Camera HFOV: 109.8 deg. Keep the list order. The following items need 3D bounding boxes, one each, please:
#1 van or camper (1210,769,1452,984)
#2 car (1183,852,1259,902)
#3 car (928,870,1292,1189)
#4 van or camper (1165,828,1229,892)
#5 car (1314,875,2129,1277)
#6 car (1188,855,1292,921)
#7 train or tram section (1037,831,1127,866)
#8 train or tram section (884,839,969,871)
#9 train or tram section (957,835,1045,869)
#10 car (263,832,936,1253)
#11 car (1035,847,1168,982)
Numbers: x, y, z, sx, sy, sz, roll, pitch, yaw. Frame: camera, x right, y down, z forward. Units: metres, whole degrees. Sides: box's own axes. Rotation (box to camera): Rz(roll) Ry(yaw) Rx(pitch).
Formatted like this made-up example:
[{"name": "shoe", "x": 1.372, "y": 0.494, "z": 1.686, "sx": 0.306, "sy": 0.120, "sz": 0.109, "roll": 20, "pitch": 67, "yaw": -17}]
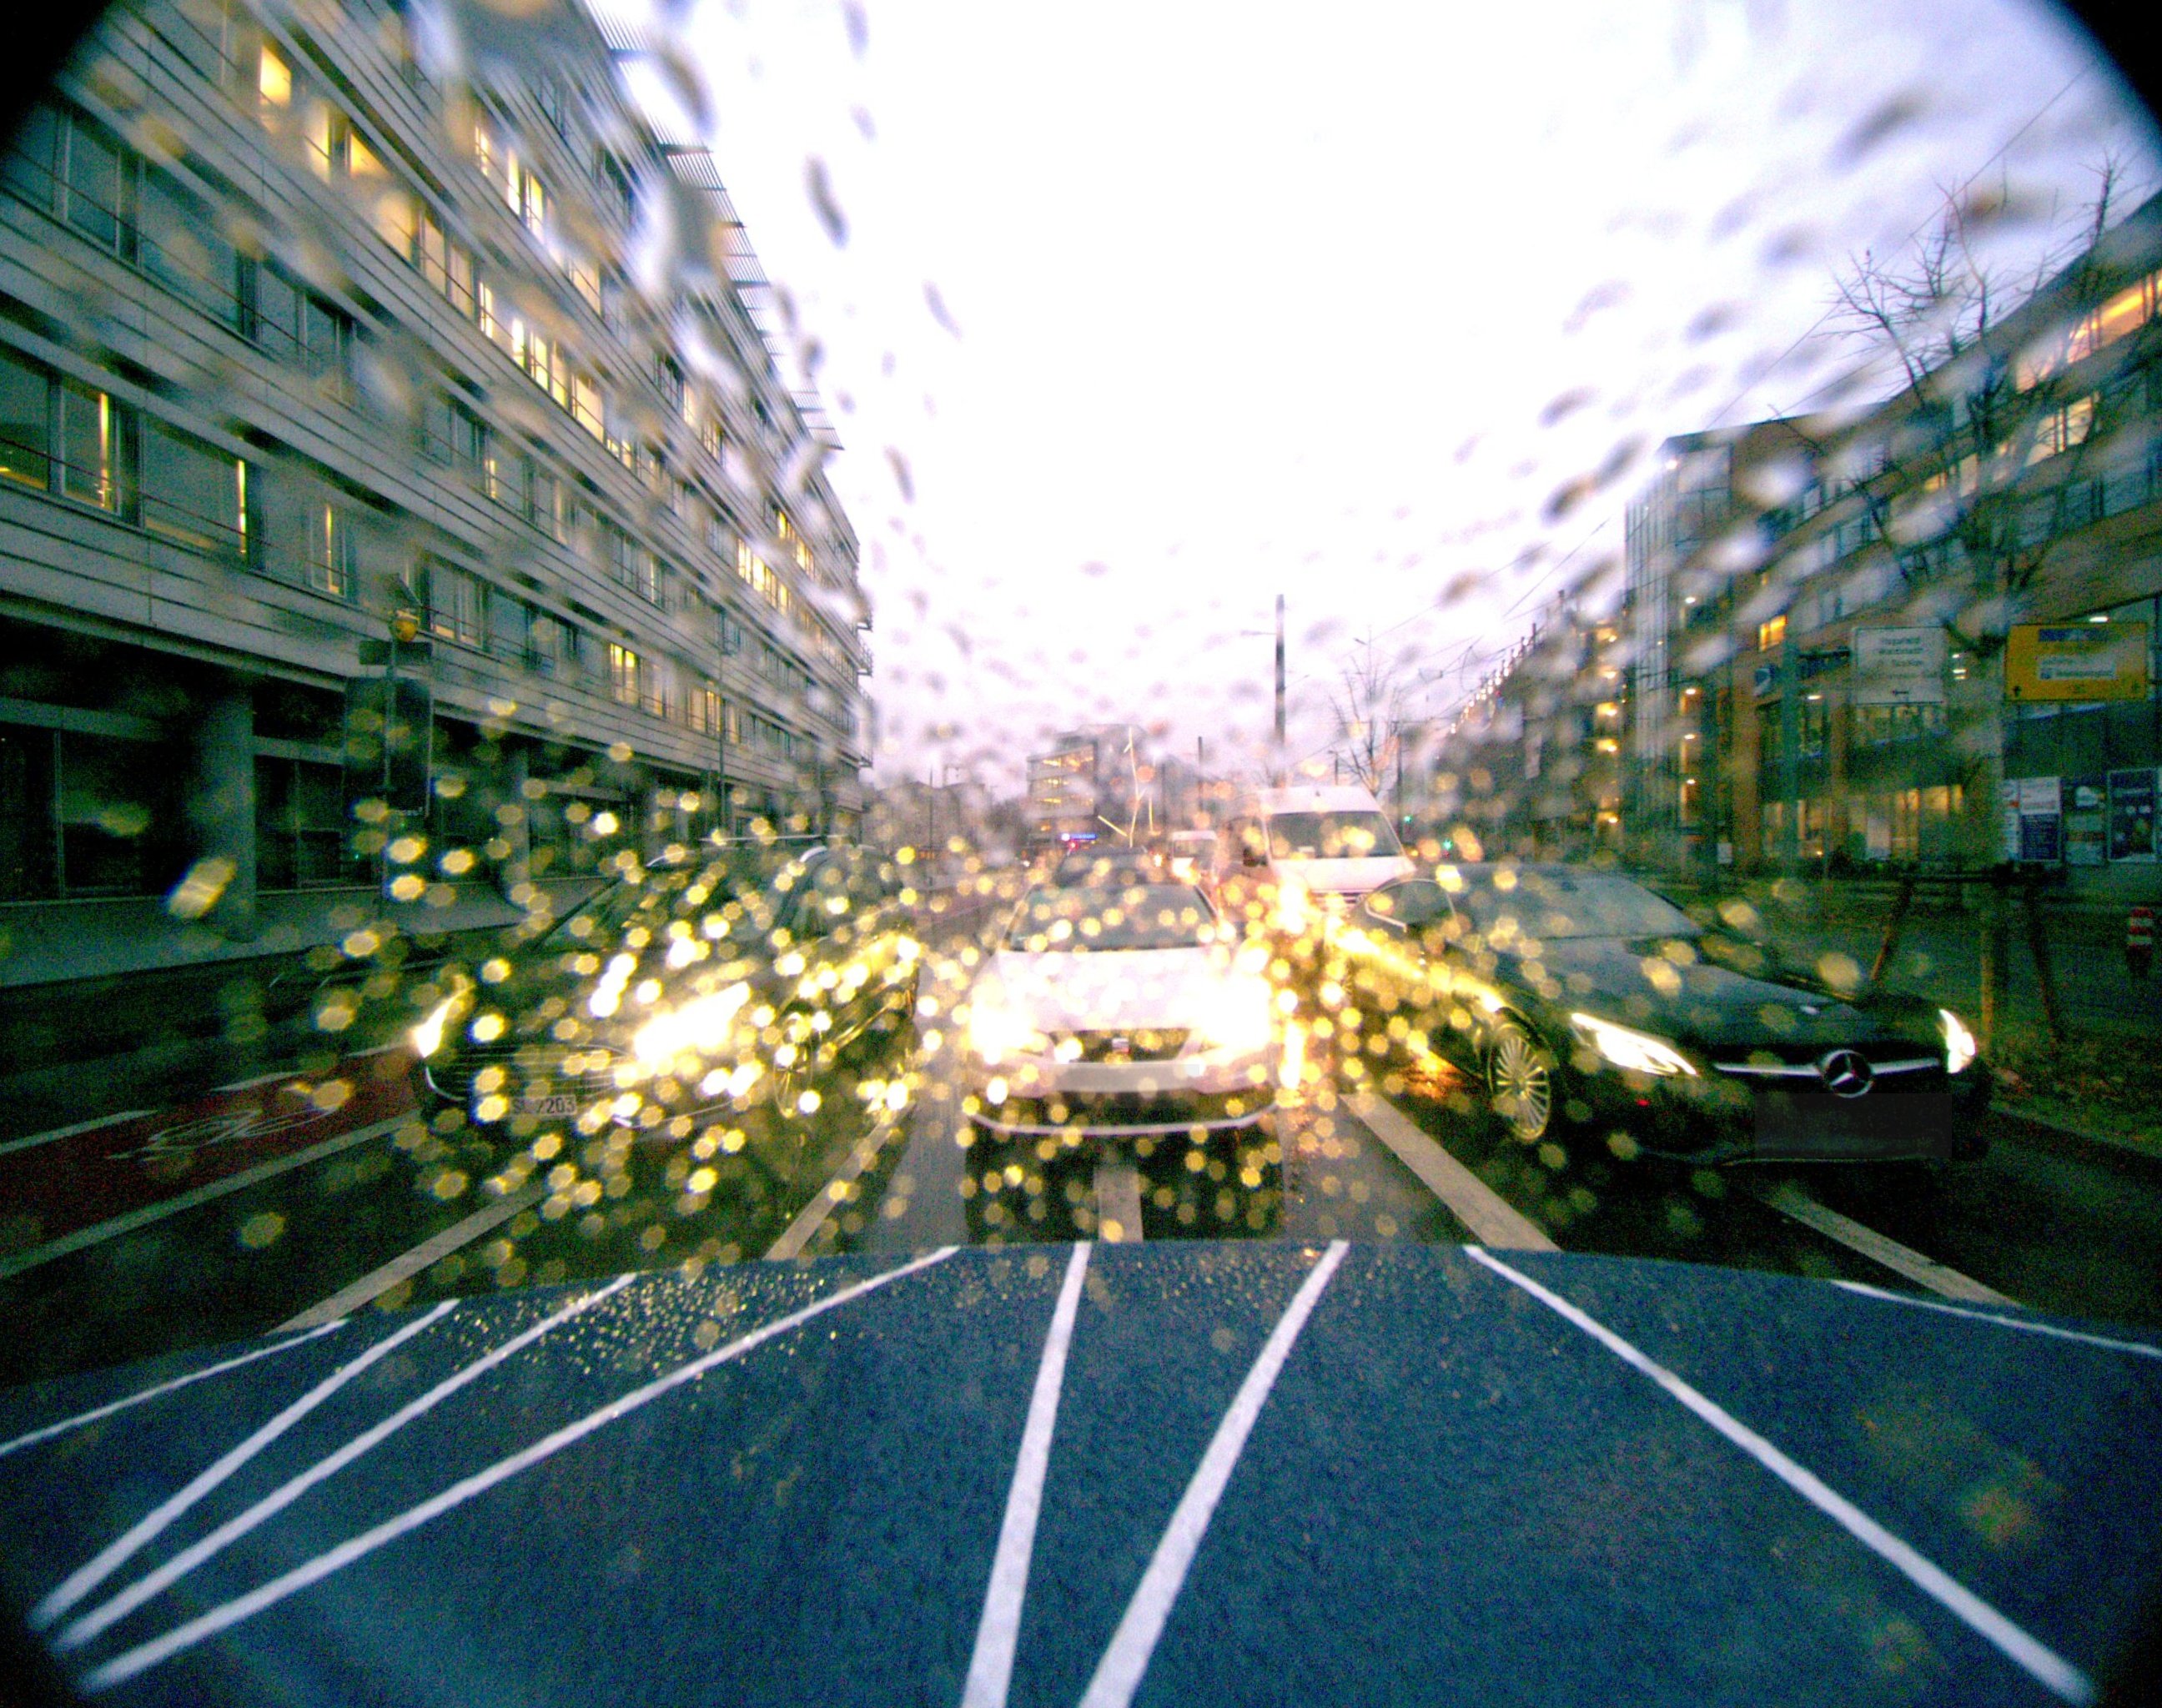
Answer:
[{"name": "van or camper", "x": 3.525, "y": 0.247, "z": 12.140, "sx": 2.061, "sy": 2.533, "sz": 5.885, "roll": -2, "pitch": 1, "yaw": 2}, {"name": "car", "x": 4.424, "y": 0.682, "z": 24.555, "sx": 1.824, "sy": 1.391, "sz": 3.952, "roll": -2, "pitch": 0, "yaw": 2}, {"name": "car", "x": 0.207, "y": 0.933, "z": 5.931, "sx": 1.773, "sy": 1.449, "sz": 4.222, "roll": -2, "pitch": 0, "yaw": 2}, {"name": "van or camper", "x": 4.635, "y": 0.209, "z": 31.140, "sx": 2.184, "sy": 2.339, "sz": 5.651, "roll": -2, "pitch": 0, "yaw": 5}, {"name": "car", "x": 3.048, "y": 0.900, "z": 4.967, "sx": 1.824, "sy": 1.324, "sz": 4.225, "roll": -2, "pitch": 0, "yaw": 2}, {"name": "car", "x": 3.838, "y": 0.767, "z": 18.959, "sx": 1.824, "sy": 1.391, "sz": 3.952, "roll": -2, "pitch": 0, "yaw": 2}, {"name": "train or tram section", "x": 0.070, "y": -0.835, "z": 118.268, "sx": 13.357, "sy": 4.832, "sz": 3.744, "roll": -2, "pitch": 1, "yaw": 20}, {"name": "train or tram section", "x": -25.609, "y": 0.196, "z": 125.803, "sx": 13.359, "sy": 4.774, "sz": 3.743, "roll": -2, "pitch": 1, "yaw": 17}, {"name": "train or tram section", "x": -12.850, "y": -0.294, "z": 122.092, "sx": 13.362, "sy": 4.904, "sz": 3.742, "roll": -2, "pitch": 1, "yaw": 13}, {"name": "car", "x": -2.581, "y": 0.833, "z": 5.707, "sx": 1.909, "sy": 1.809, "sz": 4.689, "roll": -2, "pitch": 0, "yaw": 1}, {"name": "car", "x": 0.331, "y": 0.792, "z": 11.873, "sx": 1.684, "sy": 1.723, "sz": 3.714, "roll": -2, "pitch": 0, "yaw": 2}]
